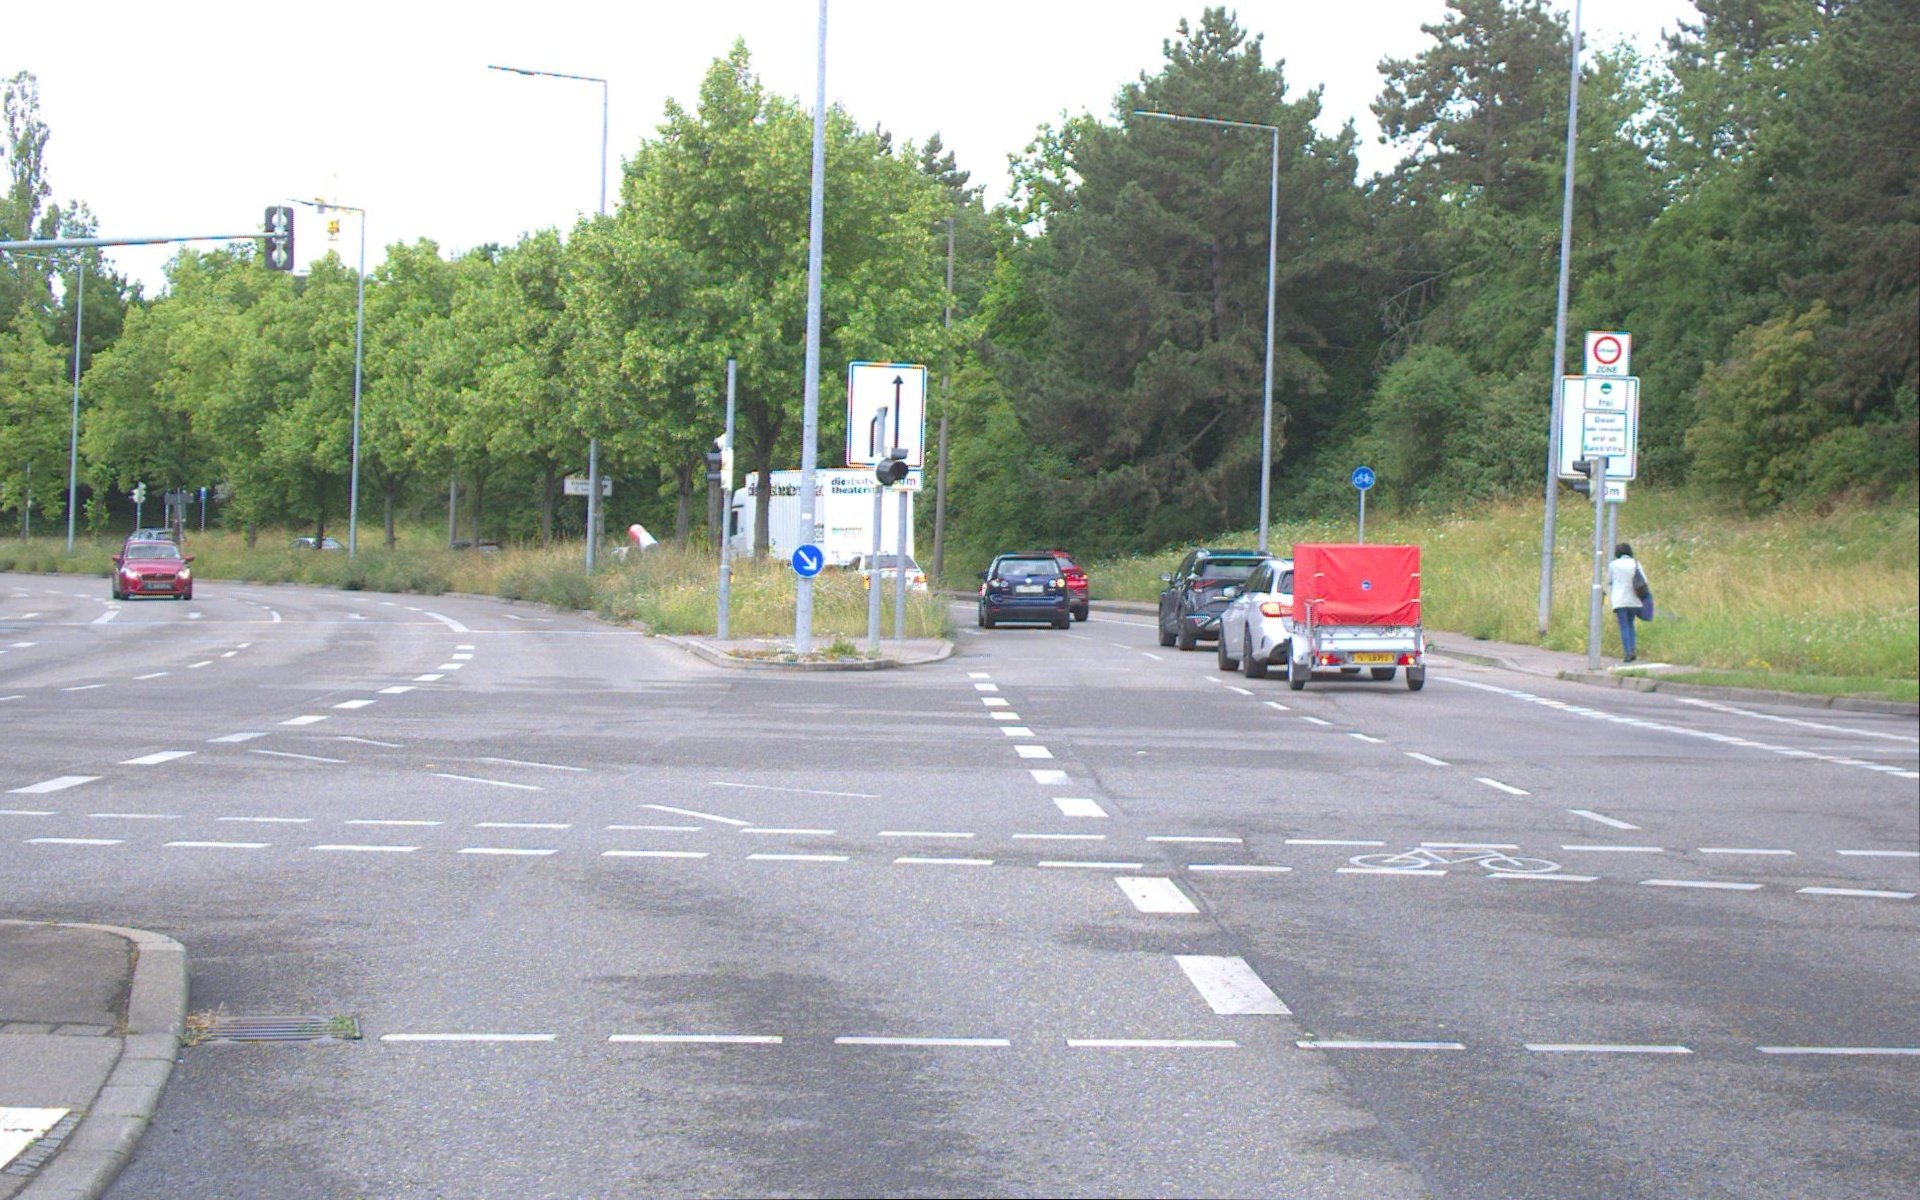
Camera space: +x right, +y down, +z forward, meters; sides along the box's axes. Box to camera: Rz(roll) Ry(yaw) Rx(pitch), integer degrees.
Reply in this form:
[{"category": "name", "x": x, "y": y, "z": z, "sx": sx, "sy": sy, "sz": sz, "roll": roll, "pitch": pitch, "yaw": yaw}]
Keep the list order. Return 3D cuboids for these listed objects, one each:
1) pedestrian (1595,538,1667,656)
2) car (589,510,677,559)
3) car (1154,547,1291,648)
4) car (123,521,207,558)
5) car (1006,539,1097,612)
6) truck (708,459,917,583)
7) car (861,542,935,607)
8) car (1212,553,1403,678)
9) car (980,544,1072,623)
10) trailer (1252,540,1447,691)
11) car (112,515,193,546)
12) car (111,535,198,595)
[{"category": "pedestrian", "x": 9.322, "y": -0.049, "z": 47.807, "sx": 0.814, "sy": 1.622, "sz": 0.791, "roll": 1, "pitch": 1, "yaw": -1}, {"category": "car", "x": -10.835, "y": -2.175, "z": 113.610, "sx": 1.777, "sy": 1.541, "sz": 4.026, "roll": 0, "pitch": 1, "yaw": -22}, {"category": "car", "x": 4.221, "y": -0.069, "z": 55.889, "sx": 1.778, "sy": 1.541, "sz": 4.025, "roll": 1, "pitch": 1, "yaw": -2}, {"category": "car", "x": -34.089, "y": -2.584, "z": 147.307, "sx": 1.779, "sy": 1.541, "sz": 4.023, "roll": 0, "pitch": 2, "yaw": -42}, {"category": "car", "x": 2.045, "y": -0.578, "z": 77.974, "sx": 1.778, "sy": 1.541, "sz": 4.025, "roll": -1, "pitch": 1, "yaw": -2}, {"category": "truck", "x": -4.390, "y": -2.286, "z": 98.659, "sx": 2.739, "sy": 3.317, "sz": 11.410, "roll": 0, "pitch": 1, "yaw": -19}, {"category": "car", "x": -1.575, "y": -0.657, "z": 86.394, "sx": 1.778, "sy": 1.541, "sz": 4.025, "roll": 1, "pitch": 1, "yaw": -2}, {"category": "car", "x": 4.261, "y": 0.153, "z": 42.799, "sx": 1.778, "sy": 1.416, "sz": 4.459, "roll": 1, "pitch": 1, "yaw": -2}, {"category": "car", "x": 1.392, "y": -0.359, "z": 71.019, "sx": 1.778, "sy": 1.541, "sz": 4.025, "roll": 1, "pitch": 1, "yaw": 2}, {"category": "trailer", "x": 4.382, "y": 0.139, "z": 39.038, "sx": 1.764, "sy": 1.610, "sz": 3.044, "roll": 1, "pitch": 1, "yaw": -2}, {"category": "car", "x": -41.562, "y": -3.585, "z": 176.994, "sx": 1.781, "sy": 1.541, "sz": 4.018, "roll": 1, "pitch": 1, "yaw": 30}, {"category": "car", "x": -19.813, "y": -0.882, "z": 84.473, "sx": 1.780, "sy": 1.438, "sz": 4.427, "roll": 0, "pitch": 1, "yaw": -17}]
